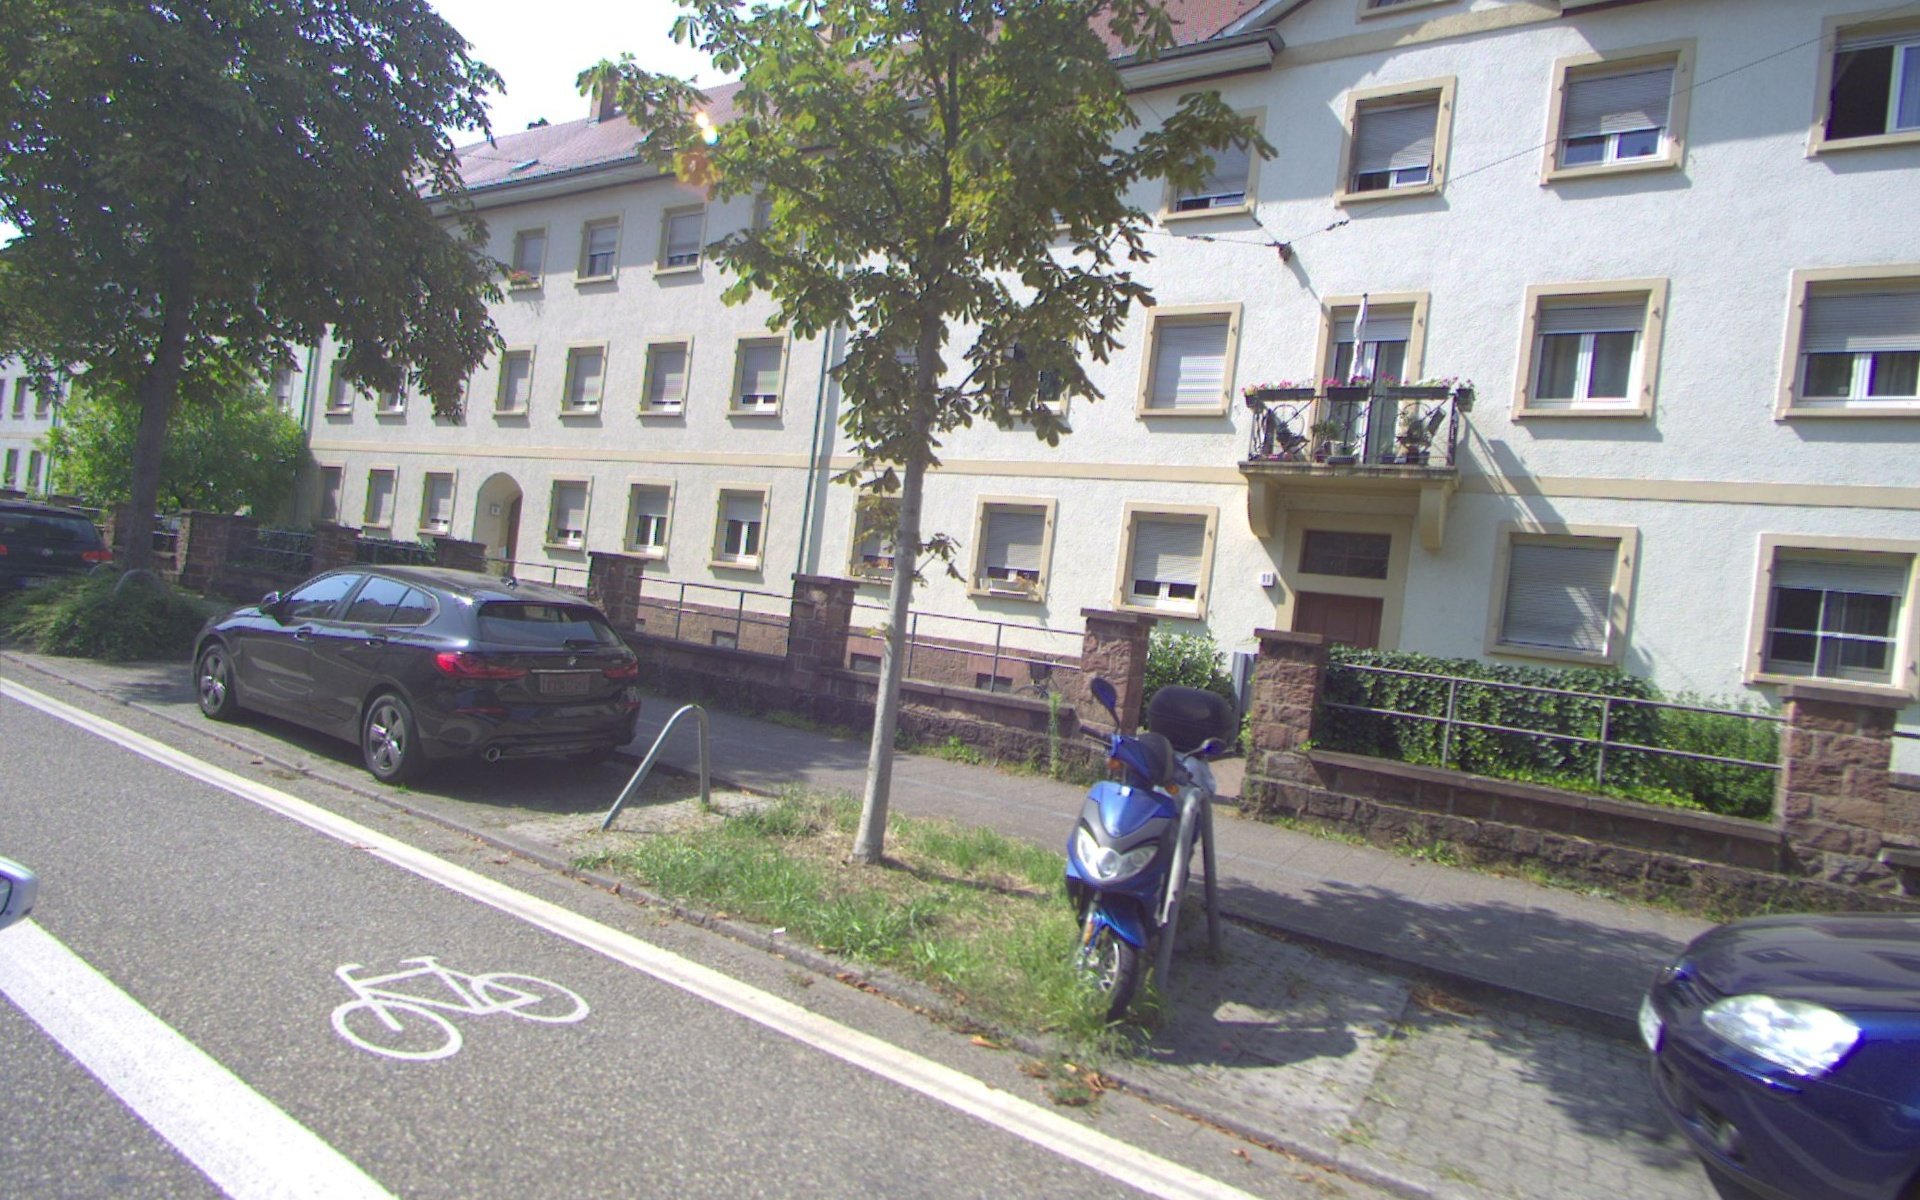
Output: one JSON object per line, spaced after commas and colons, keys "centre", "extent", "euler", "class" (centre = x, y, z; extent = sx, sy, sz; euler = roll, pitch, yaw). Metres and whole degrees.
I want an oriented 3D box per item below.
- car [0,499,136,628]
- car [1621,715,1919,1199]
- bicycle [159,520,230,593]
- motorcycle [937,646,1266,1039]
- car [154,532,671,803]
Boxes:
{"centre": [-13.312, -0.645, 13.727], "extent": [4.313, 1.495, 1.758], "euler": [6, -1, 31], "class": "car"}
{"centre": [4.164, 1.372, 2.545], "extent": [3.972, 1.496, 1.618], "euler": [6, 0, 32], "class": "car"}
{"centre": [-16.014, -0.925, 21.025], "extent": [1.861, 1.349, 0.456], "euler": [6, 0, 32], "class": "bicycle"}
{"centre": [0.791, 0.992, 4.821], "extent": [0.769, 1.385, 2.008], "euler": [7, -1, 29], "class": "motorcycle"}
{"centre": [-4.602, 0.374, 8.247], "extent": [4.384, 1.497, 1.755], "euler": [6, 2, 32], "class": "car"}
